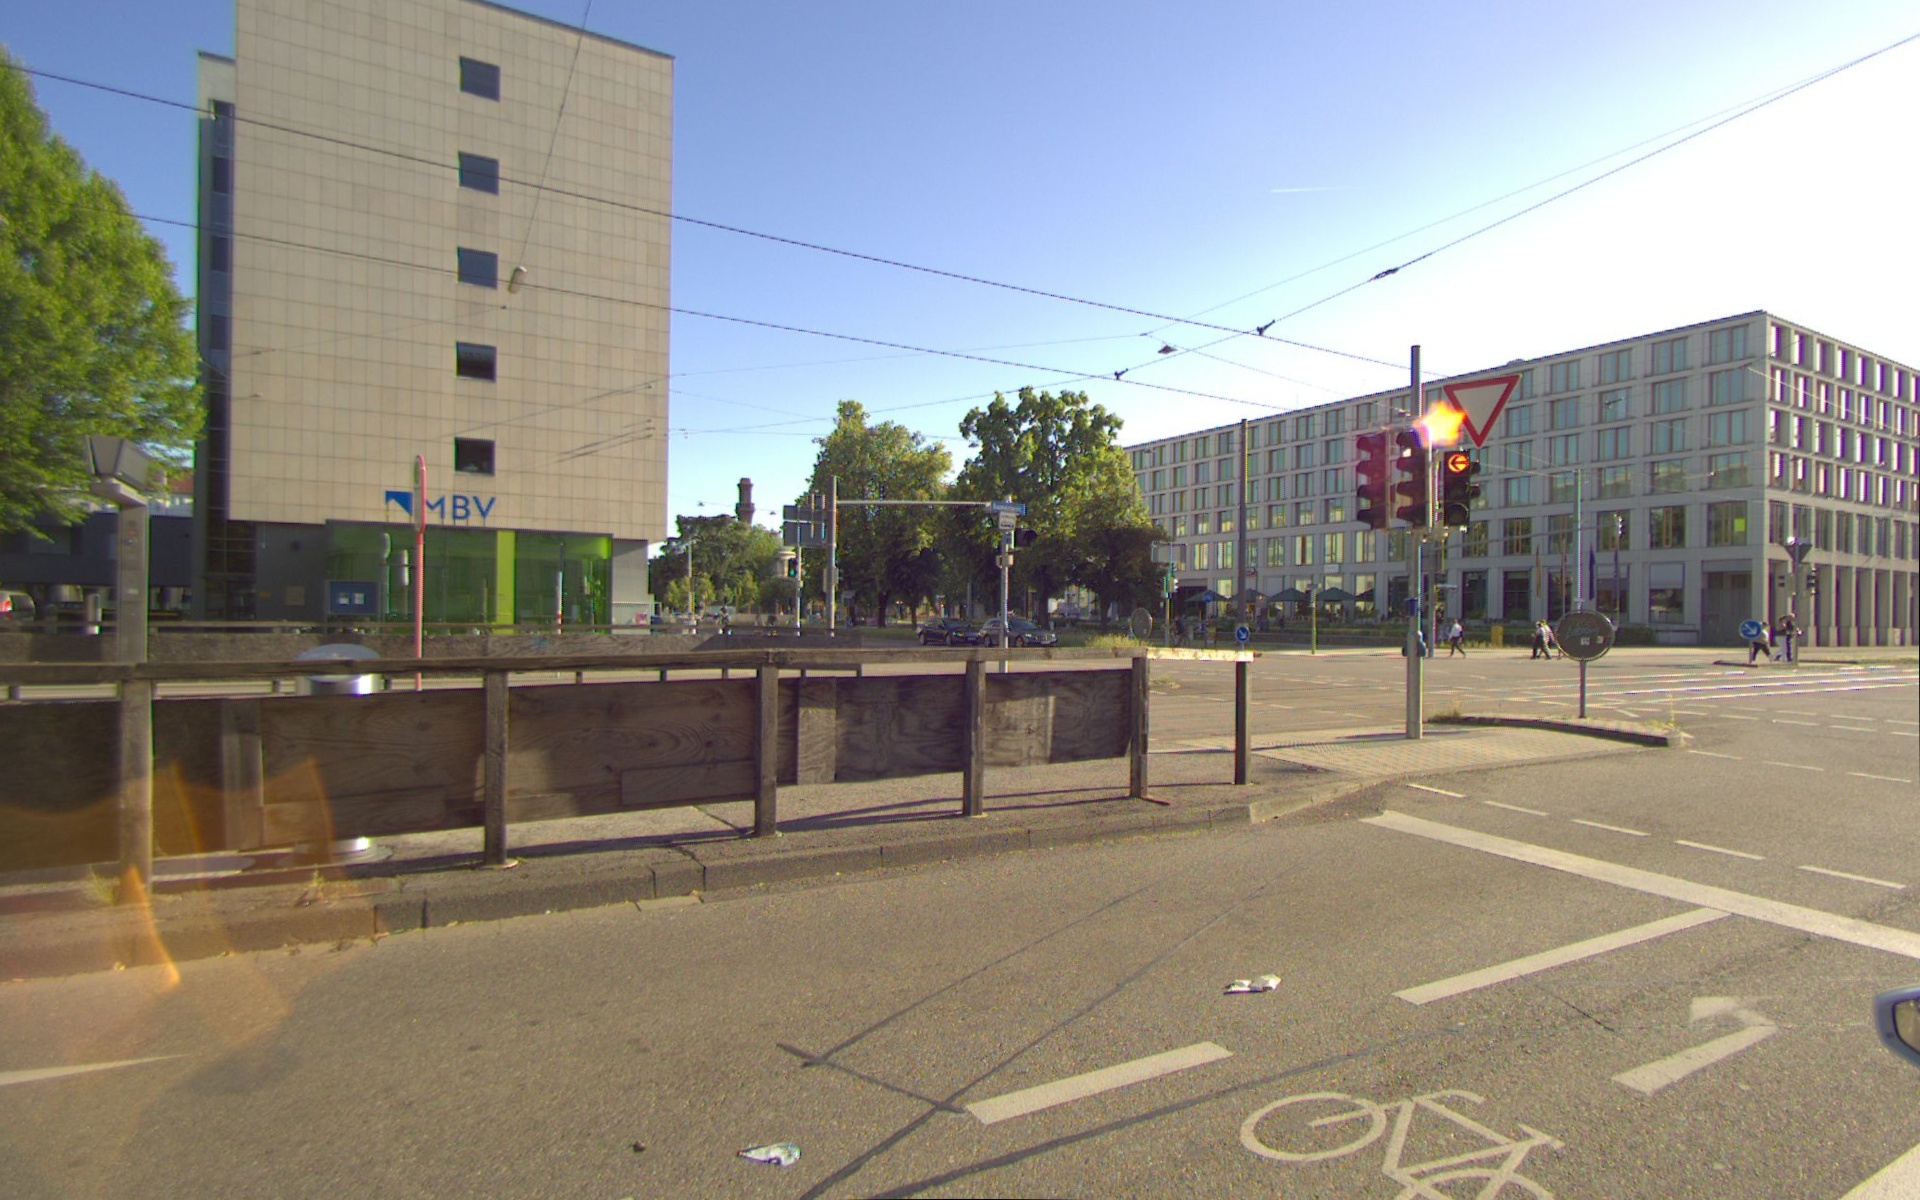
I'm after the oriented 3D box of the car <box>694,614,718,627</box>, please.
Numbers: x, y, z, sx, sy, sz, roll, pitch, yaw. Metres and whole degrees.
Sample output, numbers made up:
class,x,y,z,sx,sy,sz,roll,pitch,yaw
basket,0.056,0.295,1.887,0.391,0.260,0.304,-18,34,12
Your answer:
class,x,y,z,sx,sy,sz,roll,pitch,yaw
car,-29.563,2.333,116.826,1.614,1.452,4.021,3,-2,-31

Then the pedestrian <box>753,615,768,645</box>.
class,x,y,z,sx,sy,sz,roll,pitch,yaw
pedestrian,-11.612,1.719,58.467,0.666,1.739,0.754,1,-1,-32

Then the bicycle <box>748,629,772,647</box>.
class,x,y,z,sx,sy,sz,roll,pitch,yaw
bicycle,-11.673,2.209,58.556,0.669,0.973,2.131,1,-1,-32

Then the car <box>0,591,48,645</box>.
class,x,y,z,sx,sy,sz,roll,pitch,yaw
car,-27.748,0.453,27.755,3.371,1.431,1.562,2,0,-20

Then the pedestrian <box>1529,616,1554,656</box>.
class,x,y,z,sx,sy,sz,roll,pitch,yaw
pedestrian,26.710,1.631,46.155,0.706,1.827,0.737,1,-1,-24

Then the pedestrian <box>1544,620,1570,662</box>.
class,x,y,z,sx,sy,sz,roll,pitch,yaw
pedestrian,26.757,1.826,45.033,0.525,1.827,0.867,1,-1,-24

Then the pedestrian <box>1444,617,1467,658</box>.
class,x,y,z,sx,sy,sz,roll,pitch,yaw
pedestrian,23.778,1.778,48.220,0.628,1.943,0.800,1,-1,-24

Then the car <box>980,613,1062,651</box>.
class,x,y,z,sx,sy,sz,roll,pitch,yaw
car,2.820,1.486,47.862,1.829,1.602,4.496,1,1,-28

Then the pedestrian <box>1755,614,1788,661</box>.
class,x,y,z,sx,sy,sz,roll,pitch,yaw
pedestrian,29.223,1.359,36.158,0.615,1.666,0.787,1,-1,-34

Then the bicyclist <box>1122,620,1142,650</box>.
class,x,y,z,sx,sy,sz,roll,pitch,yaw
bicyclist,9.427,1.912,54.926,0.569,1.581,0.969,1,-1,-34

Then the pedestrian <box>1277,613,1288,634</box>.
class,x,y,z,sx,sy,sz,roll,pitch,yaw
pedestrian,25.354,1.848,78.955,0.556,1.691,0.537,2,0,-33

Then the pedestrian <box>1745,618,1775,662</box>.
class,x,y,z,sx,sy,sz,roll,pitch,yaw
pedestrian,30.460,1.509,38.246,0.614,1.666,0.691,1,-1,-29

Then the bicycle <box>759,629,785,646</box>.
class,x,y,z,sx,sy,sz,roll,pitch,yaw
bicycle,-11.069,2.217,59.211,0.818,0.973,2.132,1,-1,-31

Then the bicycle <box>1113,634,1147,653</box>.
class,x,y,z,sx,sy,sz,roll,pitch,yaw
bicycle,9.301,2.372,55.109,0.569,0.945,2.052,1,-1,-33

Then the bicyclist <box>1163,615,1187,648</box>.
class,x,y,z,sx,sy,sz,roll,pitch,yaw
bicyclist,11.073,1.623,51.761,0.592,1.662,1.065,1,-1,-42

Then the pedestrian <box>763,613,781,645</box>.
class,x,y,z,sx,sy,sz,roll,pitch,yaw
pedestrian,-11.064,1.704,59.216,0.818,1.829,0.754,1,-1,-31

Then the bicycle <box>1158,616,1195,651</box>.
class,x,y,z,sx,sy,sz,roll,pitch,yaw
bicycle,11.123,1.718,51.711,0.592,1.758,1.880,1,-1,-42

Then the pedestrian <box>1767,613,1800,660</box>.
class,x,y,z,sx,sy,sz,roll,pitch,yaw
pedestrian,31.207,1.383,38.075,0.668,1.784,0.746,2,-2,-25

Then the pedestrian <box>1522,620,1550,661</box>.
class,x,y,z,sx,sy,sz,roll,pitch,yaw
pedestrian,26.032,1.810,45.396,0.654,1.827,0.868,1,-1,-24

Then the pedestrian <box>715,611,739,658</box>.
class,x,y,z,sx,sy,sz,roll,pitch,yaw
pedestrian,-8.749,1.298,37.676,0.814,1.739,0.757,1,-1,-18

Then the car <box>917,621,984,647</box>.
class,x,y,z,sx,sy,sz,roll,pitch,yaw
car,-0.534,1.781,53.348,1.755,1.311,4.209,1,-1,-30
